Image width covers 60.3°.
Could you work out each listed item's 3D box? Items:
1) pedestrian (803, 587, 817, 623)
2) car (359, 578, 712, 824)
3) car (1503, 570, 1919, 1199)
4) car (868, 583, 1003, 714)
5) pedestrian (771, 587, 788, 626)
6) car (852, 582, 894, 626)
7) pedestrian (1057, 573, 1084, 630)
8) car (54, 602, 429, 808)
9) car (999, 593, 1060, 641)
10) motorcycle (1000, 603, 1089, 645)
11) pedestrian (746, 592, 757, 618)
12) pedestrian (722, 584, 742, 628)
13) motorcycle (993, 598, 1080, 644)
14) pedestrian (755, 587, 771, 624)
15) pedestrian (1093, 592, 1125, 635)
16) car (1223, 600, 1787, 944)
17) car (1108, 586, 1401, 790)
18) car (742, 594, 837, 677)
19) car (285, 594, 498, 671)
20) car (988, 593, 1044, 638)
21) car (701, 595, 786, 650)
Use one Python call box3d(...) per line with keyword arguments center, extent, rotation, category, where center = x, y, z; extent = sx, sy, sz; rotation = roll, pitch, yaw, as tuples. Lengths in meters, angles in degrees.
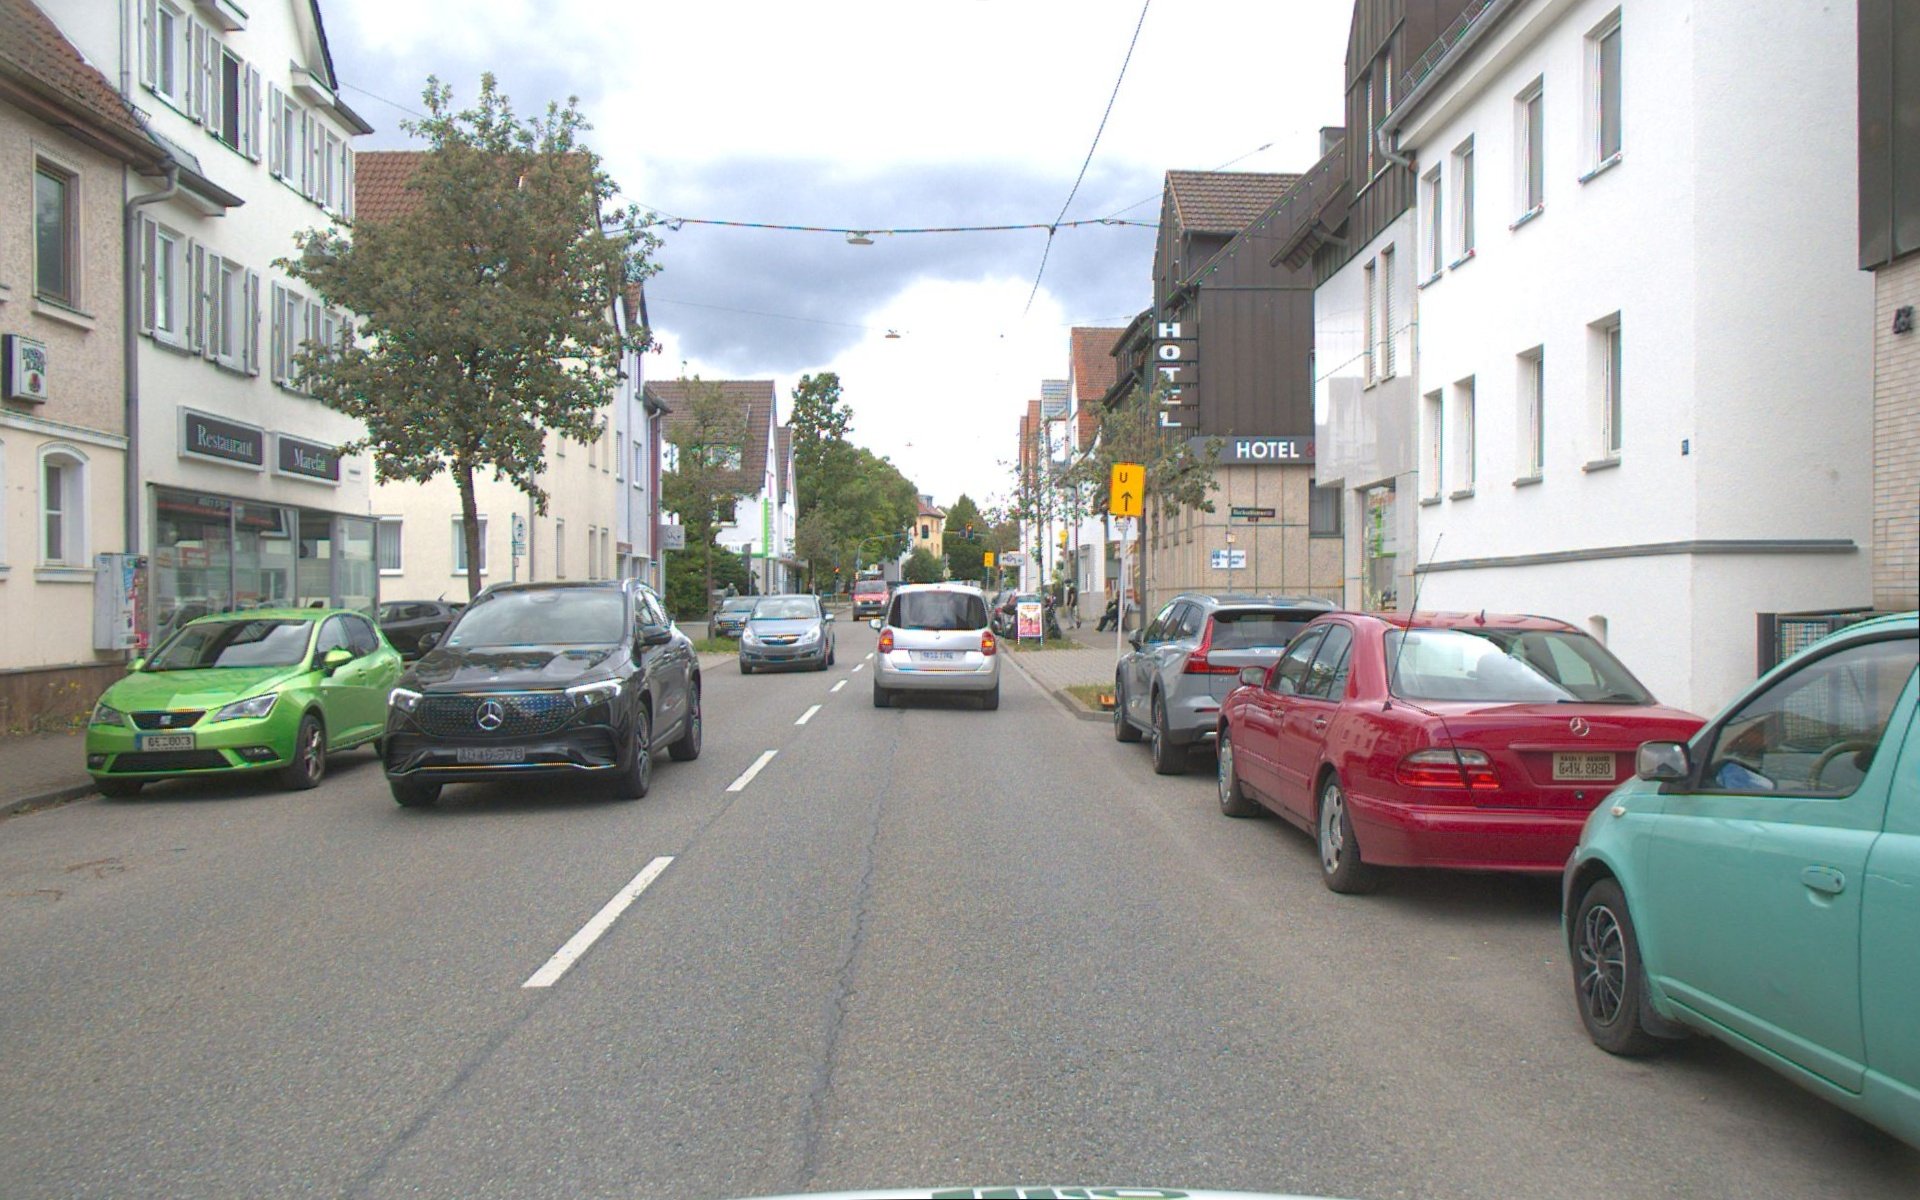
box3d(center=(-8.043, 0.262, 88.663), extent=(0.702, 1.909, 0.695), rotation=(1, 0, -1), category="pedestrian")
box3d(center=(-3.200, 0.676, 13.343), extent=(1.758, 1.606, 4.191), rotation=(-2, 0, -1), category="car")
box3d(center=(3.075, 0.709, 4.598), extent=(1.793, 1.524, 3.993), rotation=(1, 0, 0), category="car")
box3d(center=(-0.306, 0.605, 22.514), extent=(1.648, 1.593, 3.993), rotation=(1, 0, 0), category="car")
box3d(center=(-8.861, 0.324, 81.343), extent=(0.746, 1.909, 0.695), rotation=(1, 0, -1), category="pedestrian")
box3d(center=(-4.233, 0.199, 81.216), extent=(1.913, 2.049, 3.999), rotation=(1, 0, -1), category="car")
box3d(center=(3.829, 0.048, 57.440), extent=(0.839, 1.961, 0.899), rotation=(1, 0, -1), category="pedestrian")
box3d(center=(-5.992, 0.784, 14.324), extent=(1.649, 1.473, 4.017), rotation=(-2, 0, -3), category="car")
box3d(center=(2.176, 0.528, 52.543), extent=(1.666, 1.455, 3.889), rotation=(1, 0, -1), category="car")
box3d(center=(2.479, 0.703, 48.354), extent=(2.701, 1.204, 0.693), rotation=(1, 0, -32), category="motorcycle")
box3d(center=(-10.393, 0.264, 82.362), extent=(0.482, 1.300, 0.588), rotation=(1, 0, -1), category="pedestrian")
box3d(center=(-9.659, 0.255, 70.125), extent=(0.747, 1.822, 0.889), rotation=(1, 0, -1), category="pedestrian")
box3d(center=(2.291, 0.624, 49.396), extent=(2.680, 1.359, 0.693), rotation=(1, 0, -32), category="motorcycle")
box3d(center=(-9.679, 0.258, 81.373), extent=(0.702, 1.787, 0.695), rotation=(1, 0, -1), category="pedestrian")
box3d(center=(4.891, 0.445, 54.342), extent=(0.869, 1.322, 0.966), rotation=(-4, 0, -1), category="pedestrian")
box3d(center=(2.732, 0.751, 9.432), extent=(1.719, 1.471, 4.454), rotation=(1, 0, 0), category="car")
box3d(center=(2.496, 0.686, 15.136), extent=(1.837, 1.566, 4.512), rotation=(1, 0, 0), category="car")
box3d(center=(-3.305, 0.662, 32.693), extent=(1.649, 1.473, 4.017), rotation=(-2, 0, -3), category="car")
box3d(center=(-12.005, 0.675, 35.112), extent=(3.908, 1.561, 1.734), rotation=(1, 0, -4), category="car")
box3d(center=(1.909, 0.520, 57.349), extent=(1.666, 1.493, 4.237), rotation=(1, 0, -1), category="car")
box3d(center=(-6.408, 0.647, 49.417), extent=(1.909, 1.493, 4.515), rotation=(-2, 0, 0), category="car")
